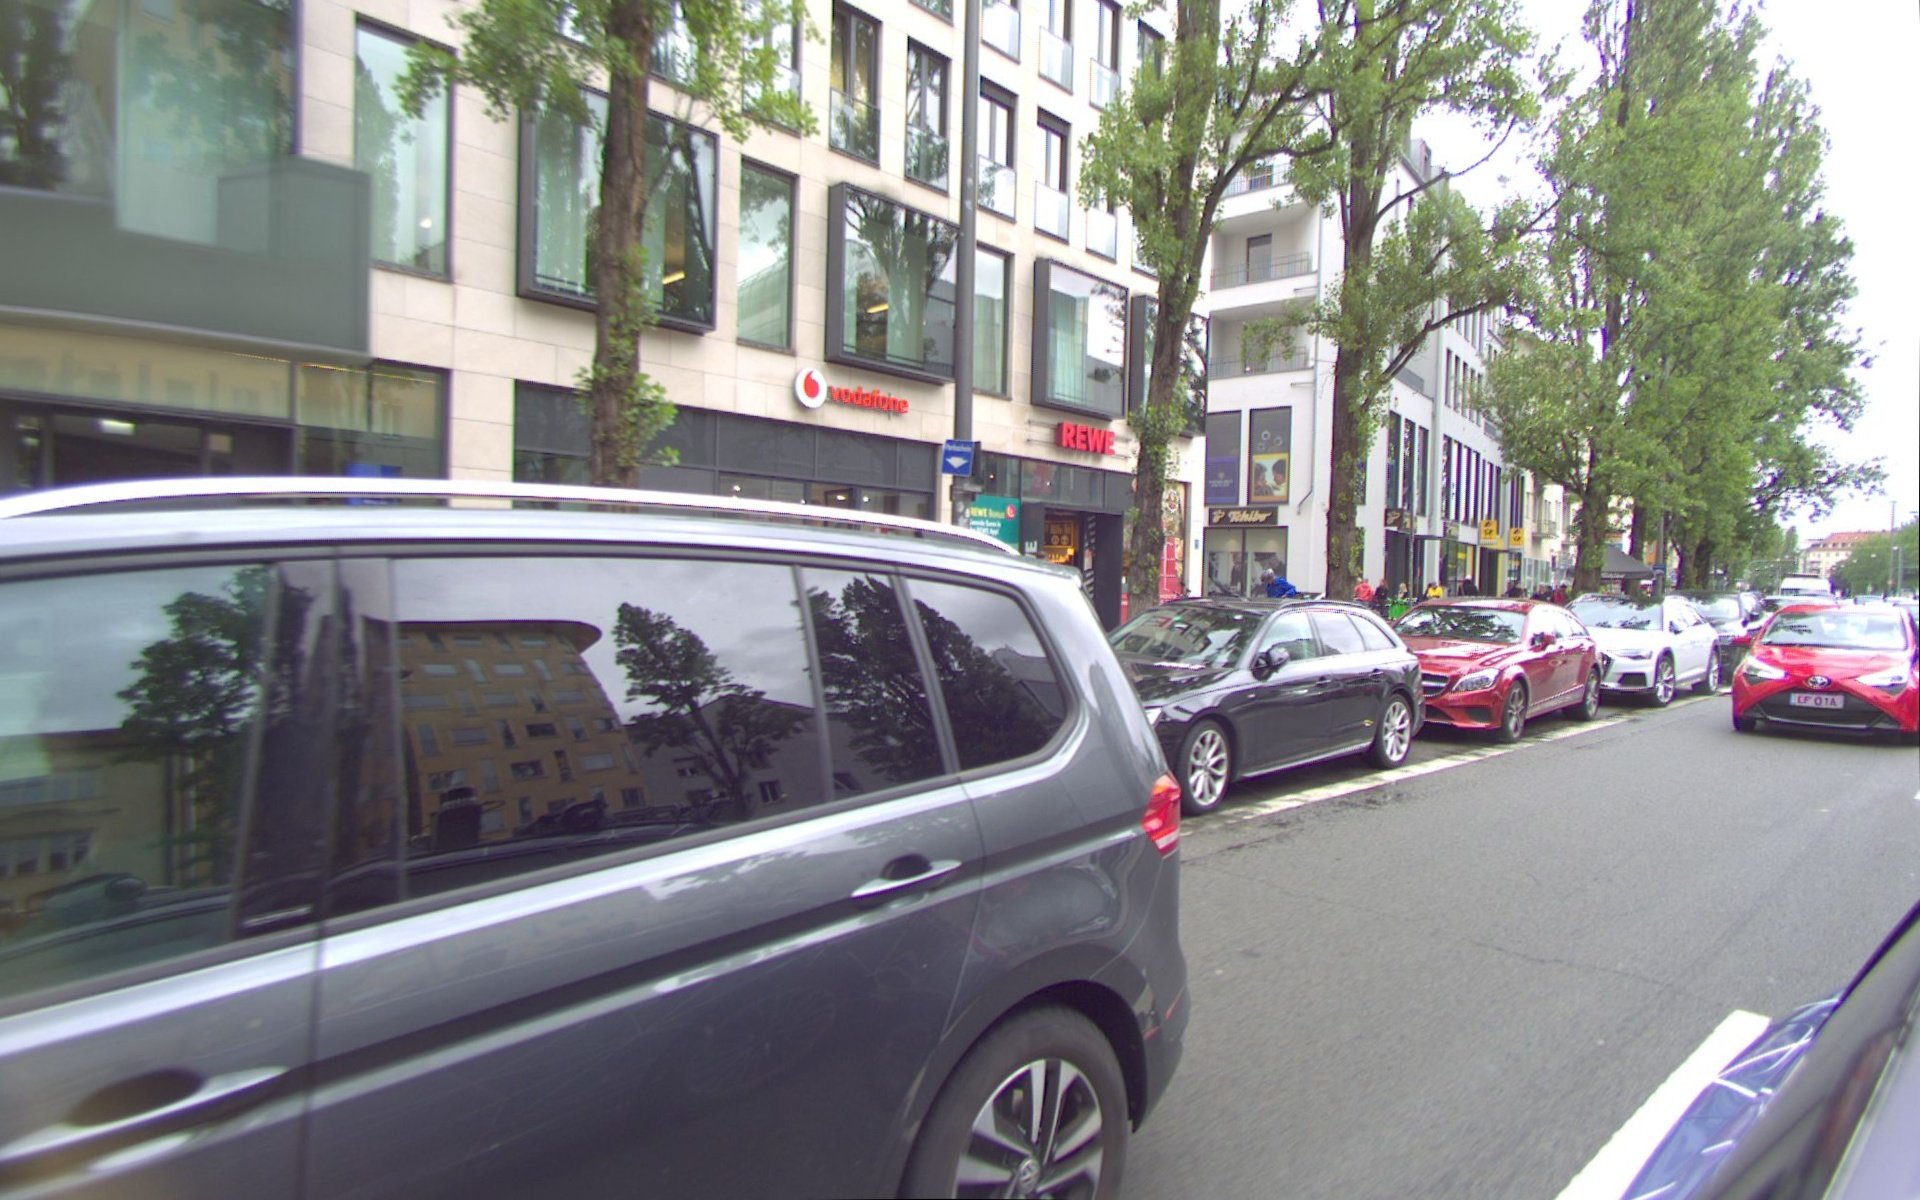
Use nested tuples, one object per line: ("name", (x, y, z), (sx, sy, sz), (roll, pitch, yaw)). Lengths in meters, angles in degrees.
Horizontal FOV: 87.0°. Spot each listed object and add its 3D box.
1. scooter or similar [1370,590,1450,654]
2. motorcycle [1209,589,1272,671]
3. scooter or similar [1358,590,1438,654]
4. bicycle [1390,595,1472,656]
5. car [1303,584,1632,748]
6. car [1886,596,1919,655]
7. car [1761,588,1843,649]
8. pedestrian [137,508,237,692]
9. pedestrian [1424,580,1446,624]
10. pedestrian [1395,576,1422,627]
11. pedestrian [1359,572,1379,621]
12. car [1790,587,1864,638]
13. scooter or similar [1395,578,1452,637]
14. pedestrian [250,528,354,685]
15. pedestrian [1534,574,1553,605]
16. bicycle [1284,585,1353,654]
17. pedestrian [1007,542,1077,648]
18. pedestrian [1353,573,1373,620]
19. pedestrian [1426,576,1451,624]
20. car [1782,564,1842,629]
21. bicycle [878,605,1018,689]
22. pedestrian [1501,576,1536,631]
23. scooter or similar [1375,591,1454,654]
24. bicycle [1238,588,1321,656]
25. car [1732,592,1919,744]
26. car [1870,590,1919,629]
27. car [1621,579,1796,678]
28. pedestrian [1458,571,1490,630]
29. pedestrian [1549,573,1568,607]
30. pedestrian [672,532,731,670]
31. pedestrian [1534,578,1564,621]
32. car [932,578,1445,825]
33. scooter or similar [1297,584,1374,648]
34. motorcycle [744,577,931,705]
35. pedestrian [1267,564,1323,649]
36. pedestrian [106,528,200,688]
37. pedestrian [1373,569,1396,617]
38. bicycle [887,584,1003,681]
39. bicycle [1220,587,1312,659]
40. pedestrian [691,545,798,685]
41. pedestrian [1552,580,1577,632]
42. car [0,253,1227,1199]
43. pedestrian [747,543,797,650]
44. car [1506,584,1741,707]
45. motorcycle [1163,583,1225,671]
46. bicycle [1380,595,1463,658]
("scooter or similar", (9.242, 0.439, 20.816), (1.435, 1.215, 0.306), (3, 2, 44))
("motorcycle", (4.426, 0.442, 15.888), (0.680, 1.170, 1.630), (3, 2, 24))
("scooter or similar", (8.964, 0.440, 20.743), (1.435, 1.215, 0.306), (3, 2, 44))
("bicycle", (10.117, 0.528, 21.777), (1.479, 1.222, 0.527), (4, 2, 44))
("car", (6.042, 0.601, 11.751), (4.725, 1.468, 1.933), (0, 2, -44))
("car", (25.996, 0.656, 26.985), (1.734, 1.488, 3.991), (2, 1, 41))
("car", (25.883, 0.522, 31.069), (1.726, 1.707, 4.340), (1, 1, 42))
("pedestrian", (-7.216, -0.001, 9.467), (0.546, 1.658, 0.553), (1, 1, -13))
("pedestrian", (17.370, 0.068, 37.004), (0.557, 1.595, 0.674), (2, 1, 16))
("pedestrian", (14.464, 0.047, 32.651), (0.558, 1.586, 0.492), (1, 2, -32))
("pedestrian", (14.068, -0.124, 34.770), (0.545, 1.644, 0.501), (0, 1, 34))
("car", (33.274, 0.428, 38.781), (1.929, 1.827, 4.705), (1, 1, 43))
("scooter or similar", (10.285, 0.152, 22.470), (1.051, 1.241, 0.373), (3, 2, 45))
("pedestrian", (-7.252, 0.053, 11.155), (0.824, 1.641, 0.736), (0, 2, -44))
("pedestrian", (30.001, -0.545, 52.052), (0.690, 1.604, 0.762), (3, 1, 39))
("bicycle", (6.062, 0.305, 17.074), (0.639, 1.076, 1.750), (3, 2, 34))
("pedestrian", (1.513, -0.104, 18.722), (0.922, 1.892, 0.819), (1, 2, -42))
("pedestrian", (14.103, -0.129, 35.405), (0.540, 1.644, 0.506), (0, 1, 10))
("pedestrian", (16.702, -0.008, 35.330), (0.558, 1.654, 0.492), (1, 2, -32))
("car", (38.614, -0.189, 45.877), (1.991, 2.776, 5.474), (1, 1, 40))
("bicycle", (-0.129, 0.563, 12.458), (1.728, 0.952, 0.435), (1, 2, -33))
("pedestrian", (17.651, 0.104, 31.978), (0.714, 1.696, 0.771), (4, 2, 44))
("scooter or similar", (9.445, 0.441, 21.058), (1.435, 1.215, 0.306), (3, 2, 44))
("bicycle", (6.168, 0.398, 19.628), (0.442, 1.186, 1.772), (1, 2, -24))
("car", (10.381, 0.661, 11.768), (3.536, 1.464, 1.667), (-1, 1, -43))
("car", (45.634, 0.406, 49.106), (1.990, 1.771, 3.944), (1, 1, 39))
("car", (14.734, 0.450, 19.823), (4.571, 1.721, 1.927), (-1, 1, -42))
("pedestrian", (17.226, 0.005, 33.927), (0.646, 1.948, 0.911), (4, 2, 43))
("pedestrian", (30.191, -0.524, 51.039), (0.690, 1.669, 0.787), (3, 1, 39))
("pedestrian", (-3.476, 0.005, 13.671), (0.668, 1.794, 0.798), (2, 1, -10))
("pedestrian", (23.353, -0.032, 40.121), (0.799, 1.657, 1.008), (3, 2, 42))
("car", (2.037, 0.595, 8.193), (4.349, 1.446, 1.850), (0, 2, -42))
("scooter or similar", (7.781, 0.310, 21.008), (0.544, 1.226, 1.387), (1, 2, -40))
("motorcycle", (-1.359, 0.423, 11.213), (1.947, 1.267, 0.636), (3, 2, 17))
("pedestrian", (6.606, 0.117, 19.984), (0.600, 1.639, 0.796), (1, 2, -24))
("pedestrian", (-7.831, 0.074, 9.833), (0.536, 1.509, 0.505), (1, 1, -13))
("pedestrian", (14.777, -0.237, 35.224), (0.497, 1.644, 0.550), (0, 1, -9))
("bicycle", (-0.176, 0.402, 13.466), (0.455, 1.202, 1.688), (3, 2, 44))
("bicycle", (5.439, 0.406, 18.004), (1.425, 1.204, 0.549), (2, 2, -9))
("pedestrian", (-2.588, 0.158, 12.167), (0.834, 1.596, 0.923), (3, 2, 44))
("pedestrian", (20.787, 0.198, 34.793), (0.665, 1.746, 0.761), (3, 2, 32))
("car", (-1.516, 0.473, 1.585), (4.111, 1.634, 1.764), (0, 1, -42))
("pedestrian", (-2.970, -0.067, 16.048), (0.703, 1.641, 0.798), (2, 1, -9))
("car", (10.181, 0.577, 15.367), (4.723, 1.519, 1.813), (0, 3, -42))
("motorcycle", (3.973, 0.416, 17.106), (0.680, 1.373, 1.630), (3, 2, 24))
("bicycle", (9.737, 0.536, 21.386), (1.479, 1.222, 0.527), (4, 2, 44))
